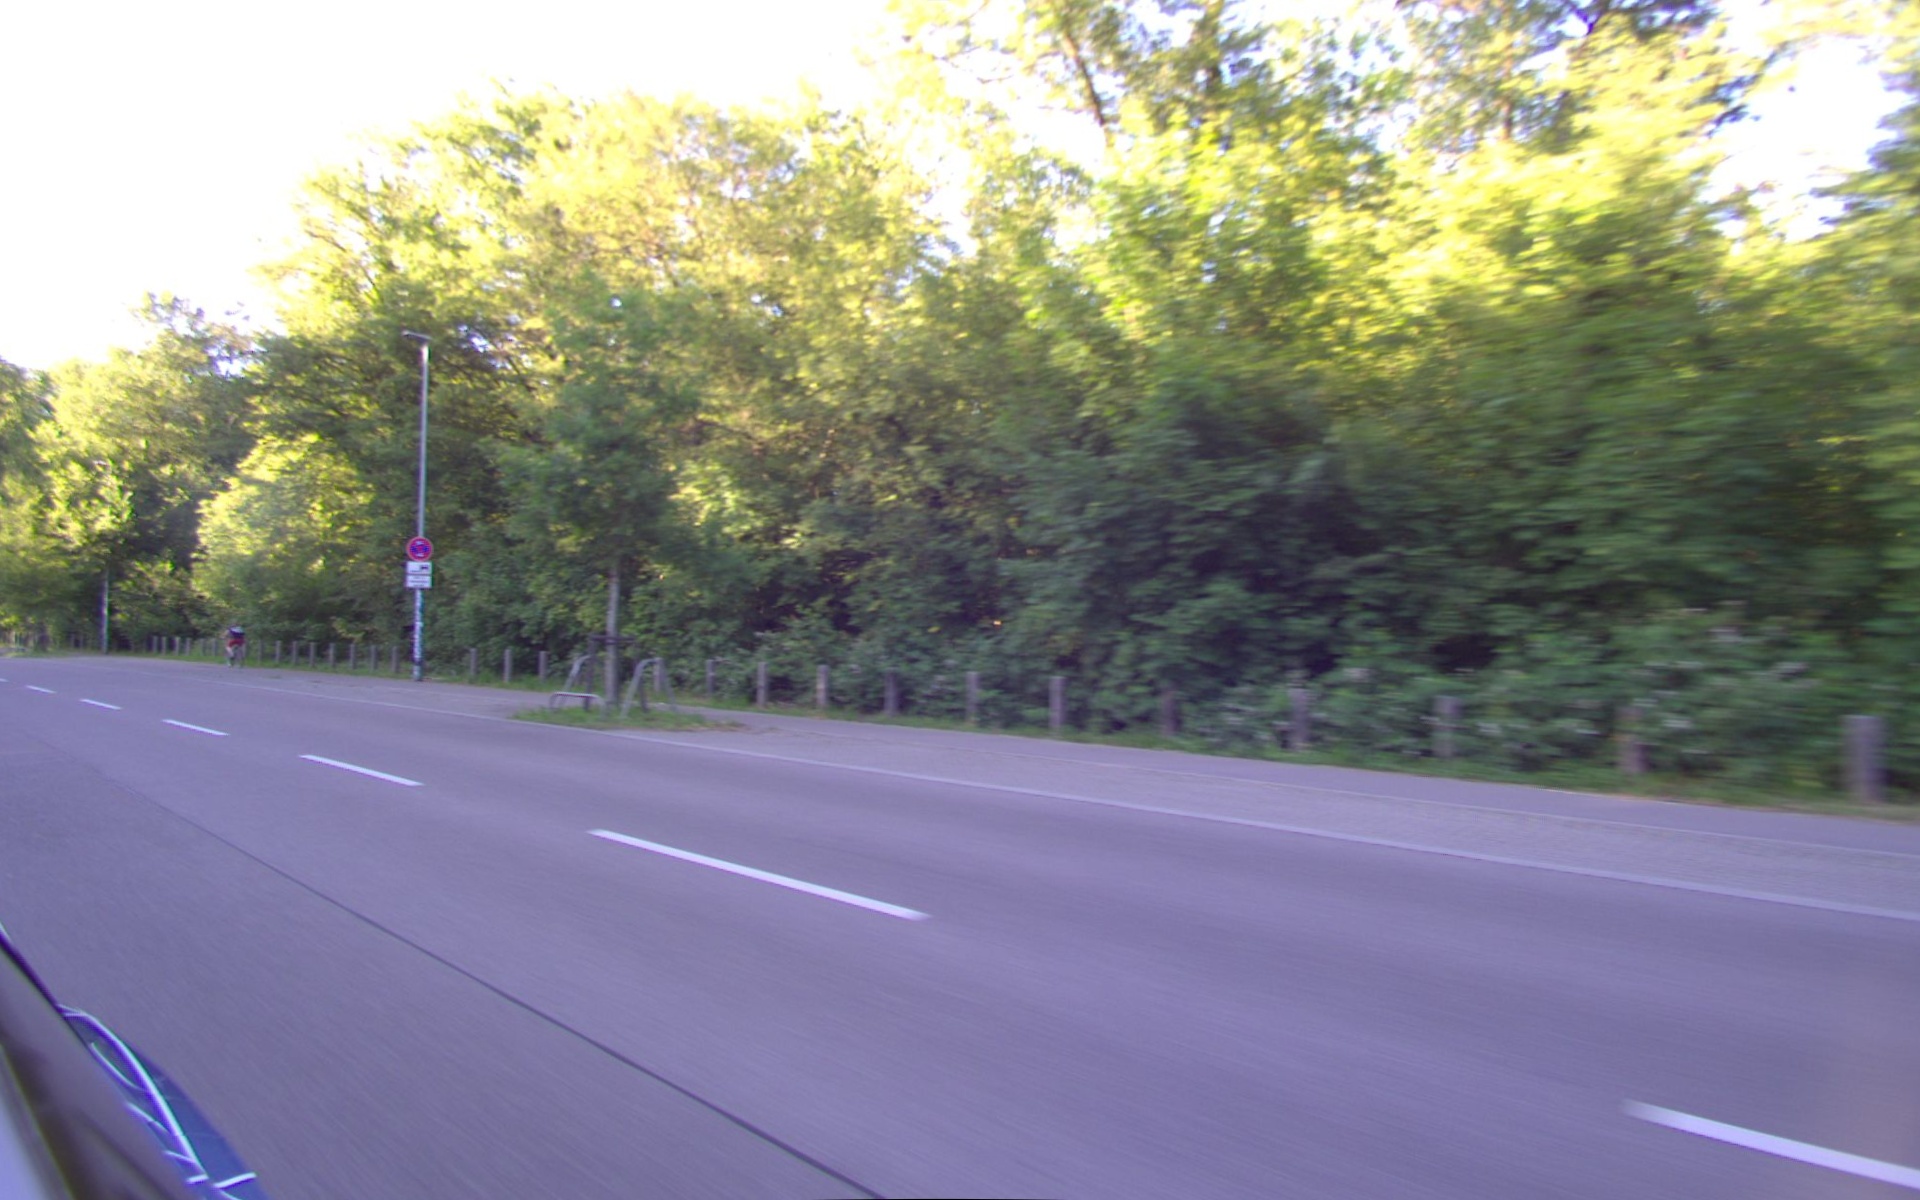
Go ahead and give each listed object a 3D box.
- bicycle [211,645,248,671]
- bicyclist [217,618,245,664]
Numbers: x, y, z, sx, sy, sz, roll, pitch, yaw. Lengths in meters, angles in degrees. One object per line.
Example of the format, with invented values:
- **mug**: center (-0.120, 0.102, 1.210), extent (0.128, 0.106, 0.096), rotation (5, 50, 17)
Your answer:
- **bicycle**: center (-23.890, 1.900, 33.072), extent (1.806, 0.820, 0.490), rotation (-2, -5, 39)
- **bicyclist**: center (-23.756, 1.343, 32.996), extent (0.760, 1.495, 0.494), rotation (-1, -4, 39)
